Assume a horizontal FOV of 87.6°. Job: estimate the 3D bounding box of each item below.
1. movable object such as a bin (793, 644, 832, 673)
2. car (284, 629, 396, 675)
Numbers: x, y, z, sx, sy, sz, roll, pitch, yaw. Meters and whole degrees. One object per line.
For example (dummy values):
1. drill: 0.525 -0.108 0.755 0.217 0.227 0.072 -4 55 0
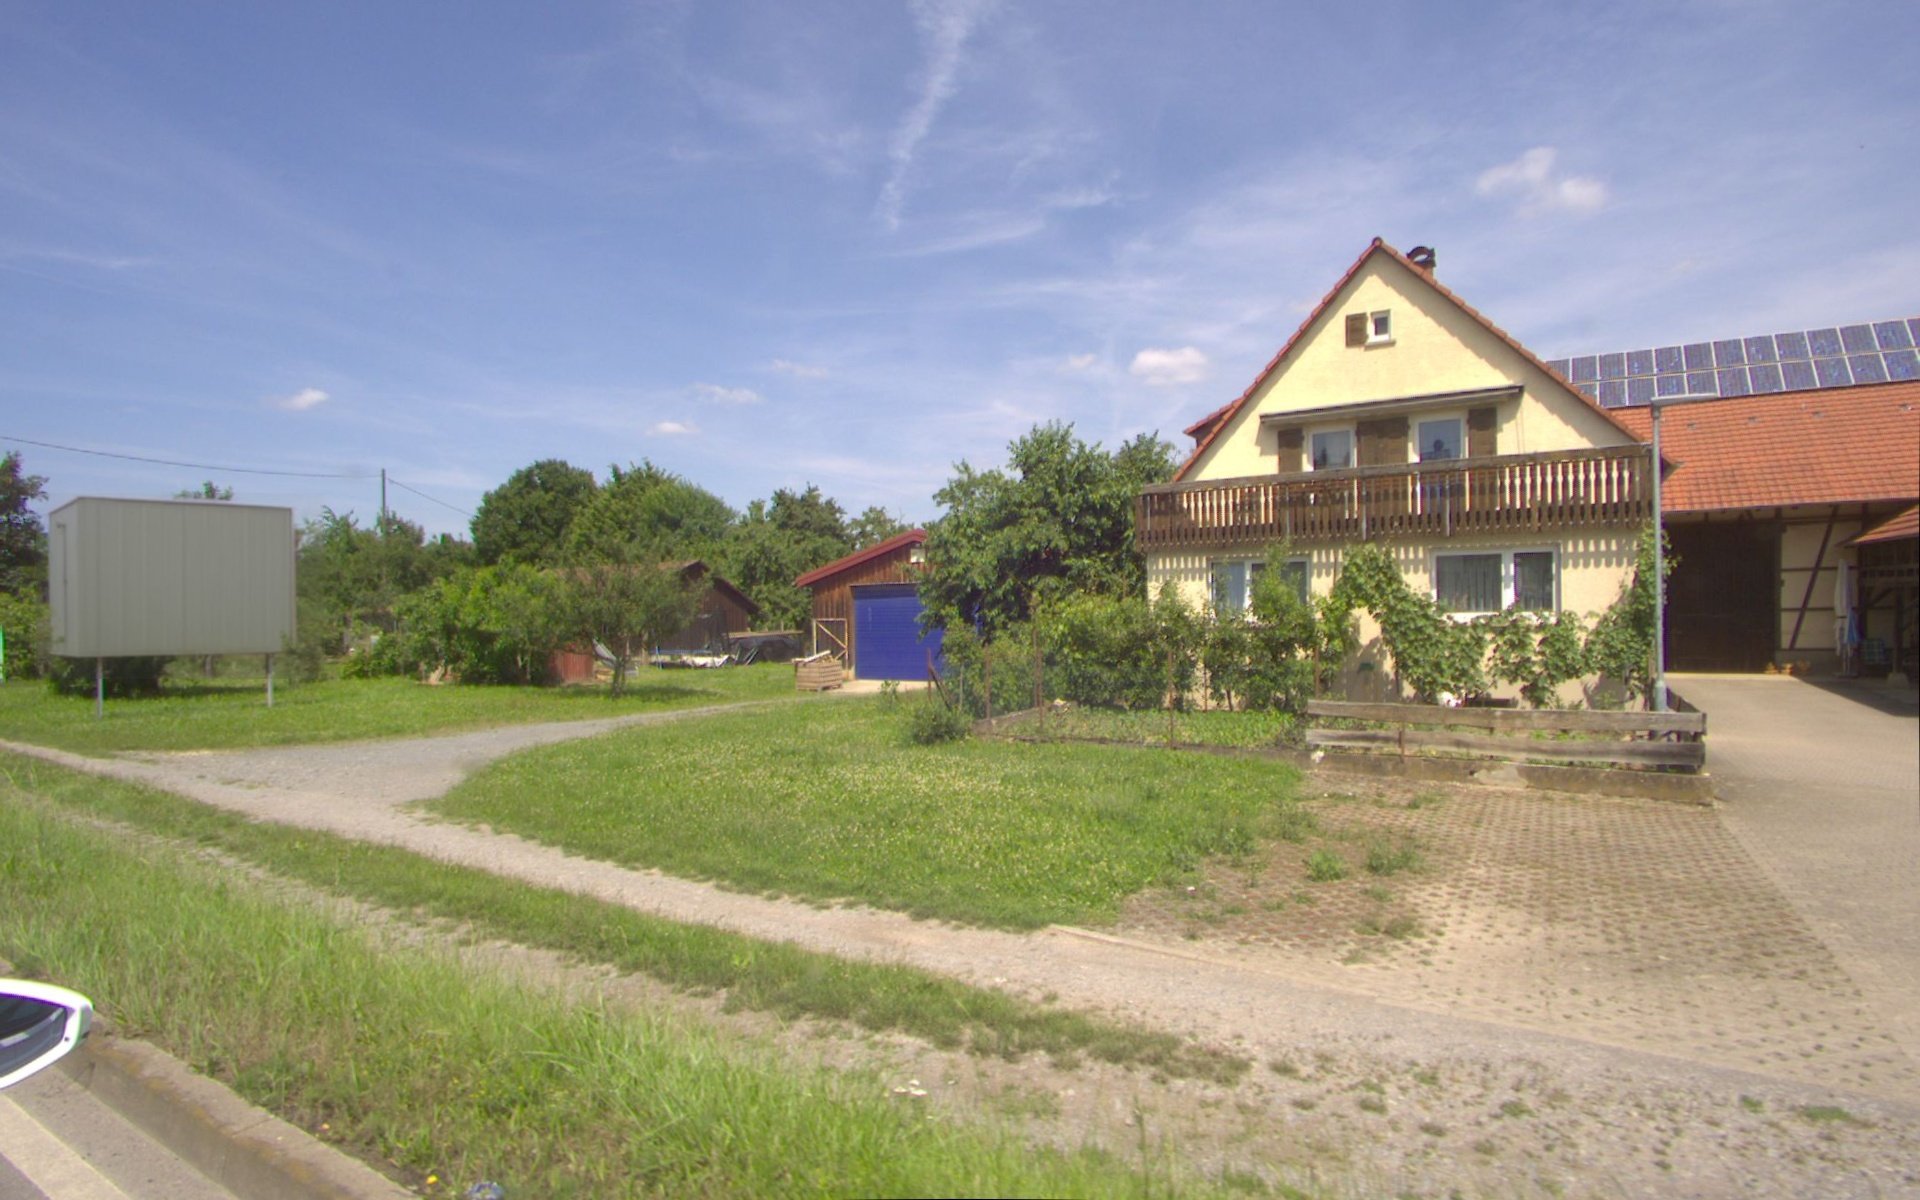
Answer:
1. movable object such as a bin: -5.368 2.116 36.405 1.045 1.046 1.040 0 -2 19
2. car: -28.630 2.370 46.327 1.977 2.039 3.970 -1 -2 40
